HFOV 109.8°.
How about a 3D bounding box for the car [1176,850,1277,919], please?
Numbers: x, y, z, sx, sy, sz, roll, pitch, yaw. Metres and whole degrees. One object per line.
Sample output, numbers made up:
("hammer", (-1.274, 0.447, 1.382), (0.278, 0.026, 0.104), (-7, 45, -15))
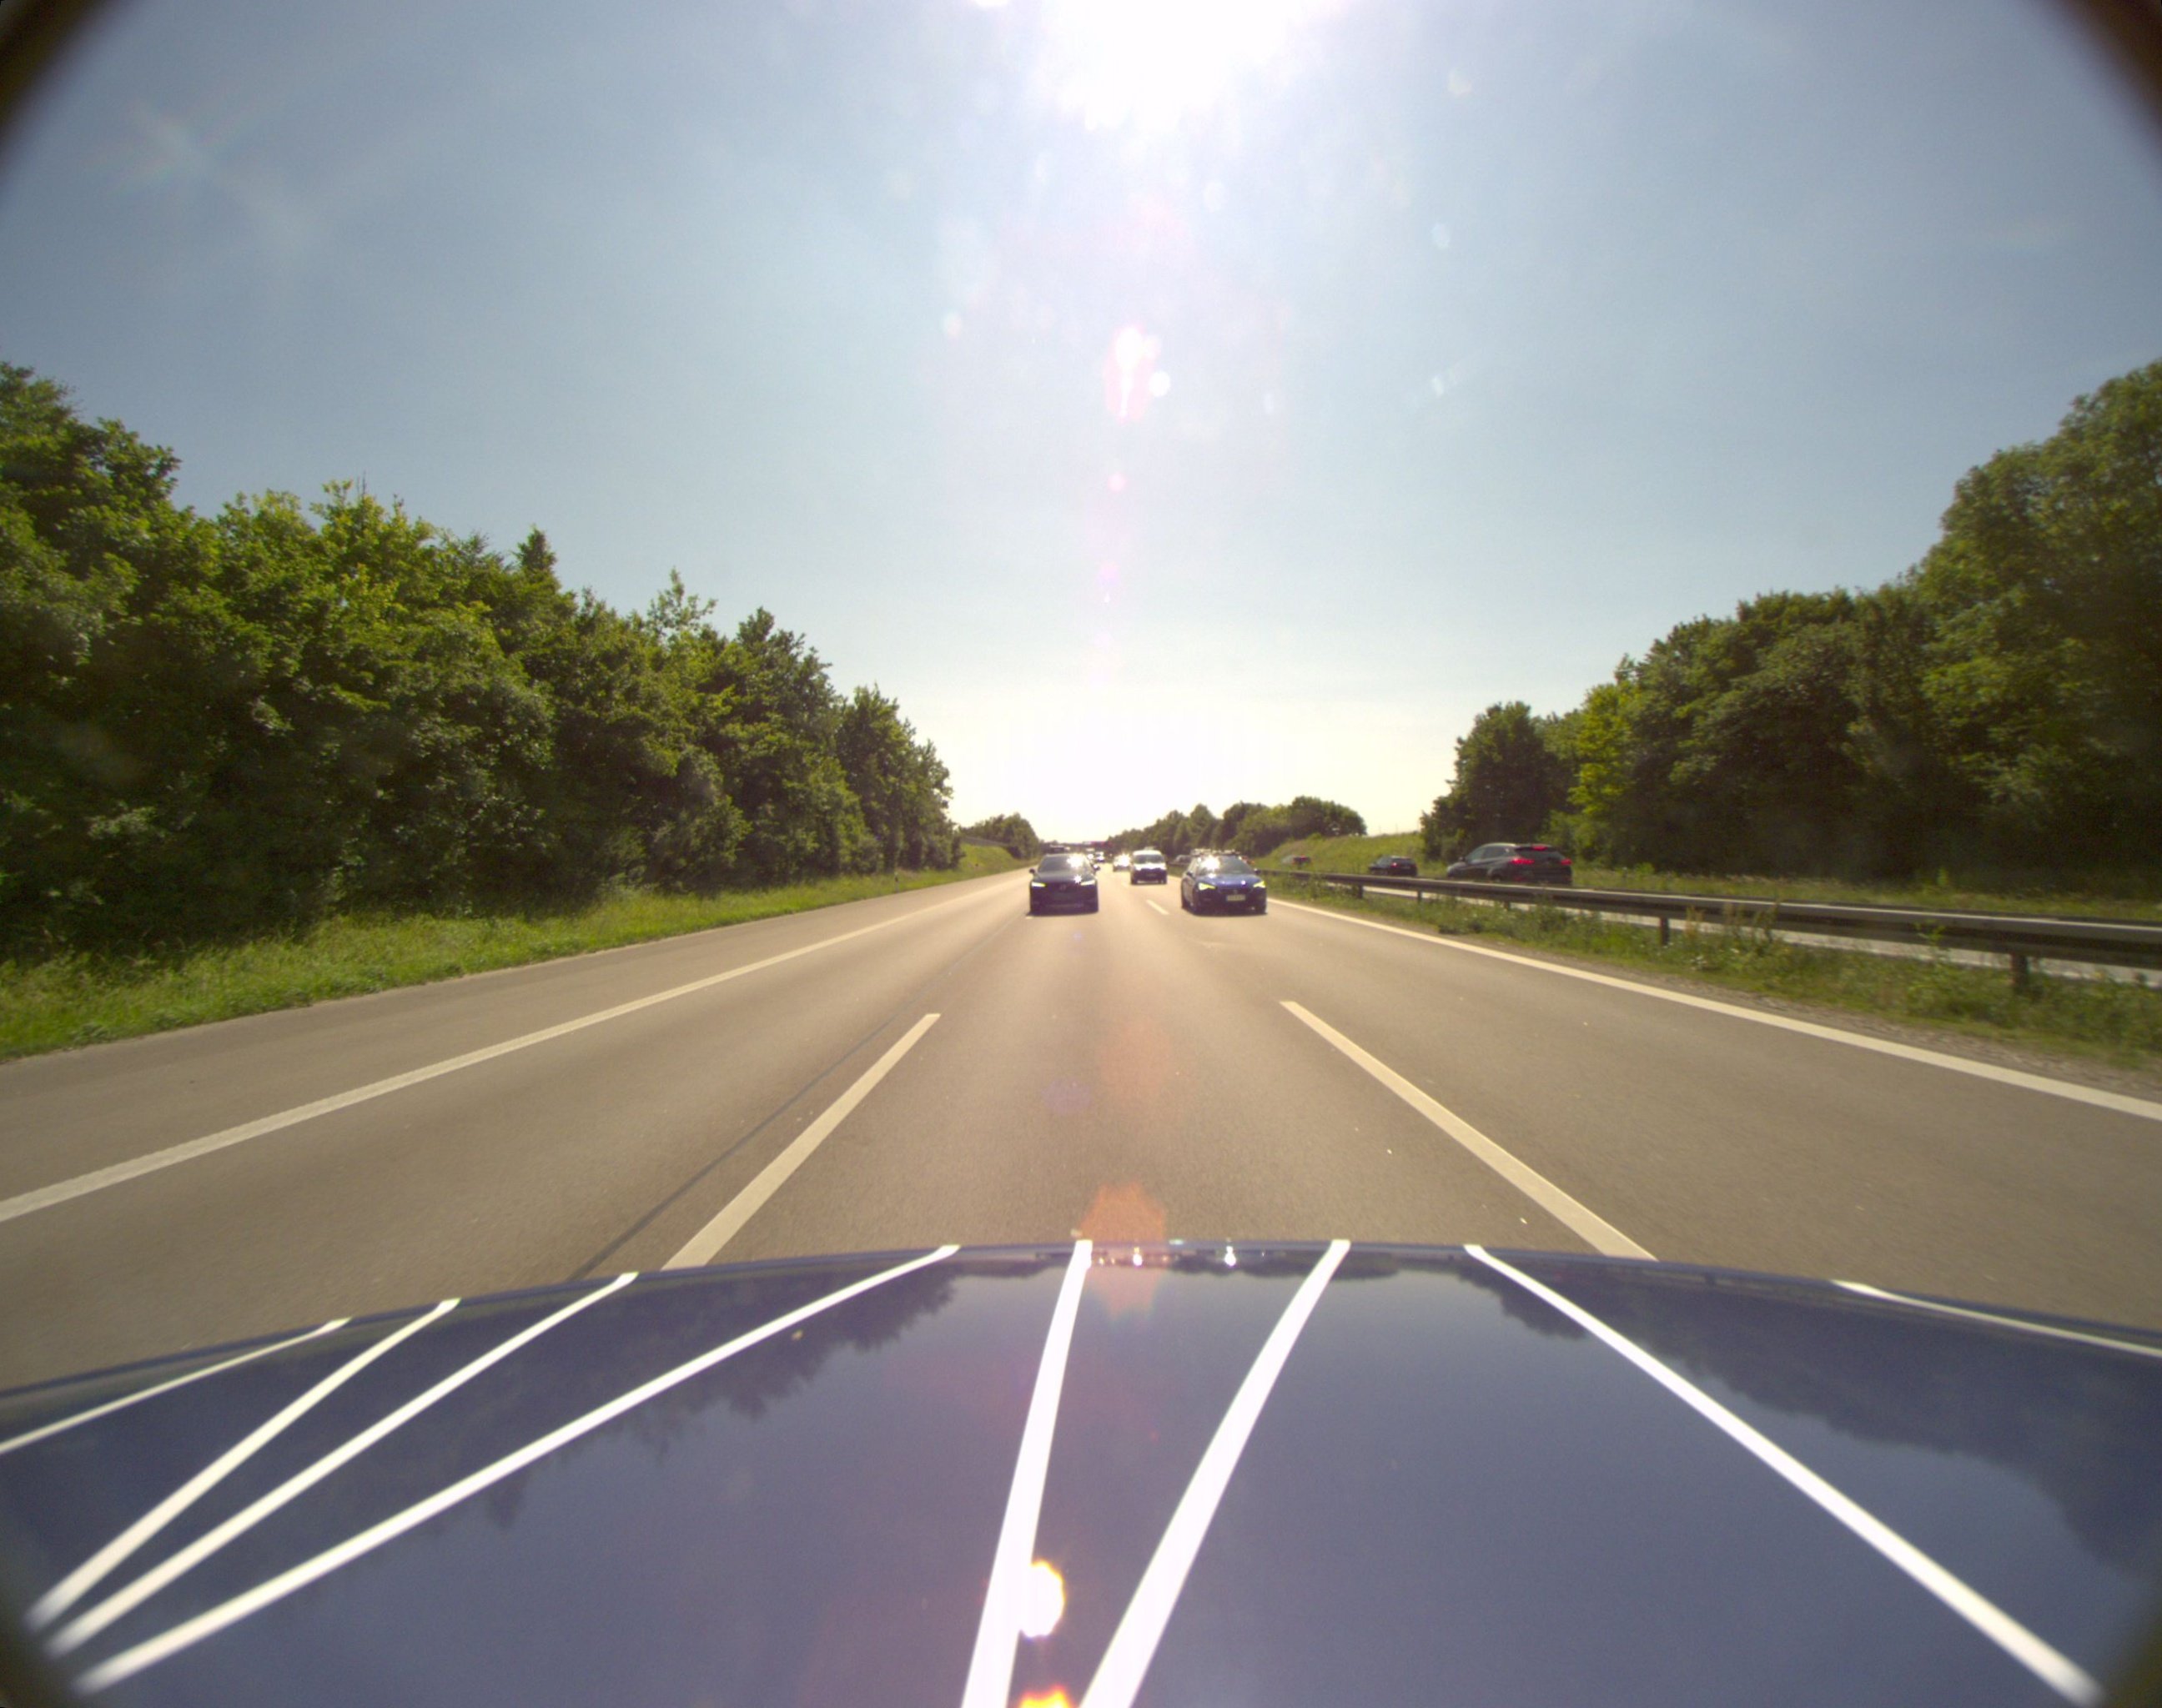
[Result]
("car", (3.782, 0.729, 20.430), (1.904, 1.616, 4.240), (-2, 0, 1))

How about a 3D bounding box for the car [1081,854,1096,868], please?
("car", (0.958, 0.807, 93.529), (1.743, 1.630, 3.844), (0, 1, 2))

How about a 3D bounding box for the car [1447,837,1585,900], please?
("car", (12.621, 0.384, 22.377), (1.801, 1.657, 4.129), (-1, 0, 2))

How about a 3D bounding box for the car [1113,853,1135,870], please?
("car", (4.203, 0.710, 75.368), (1.998, 1.540, 3.999), (-1, 1, 1))

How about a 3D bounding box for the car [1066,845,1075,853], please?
("car", (-2.606, -1.210, 188.452), (1.998, 1.856, 4.228), (-1, 0, 1))

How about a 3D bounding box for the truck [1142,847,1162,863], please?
("truck", (18.585, 0.275, 200.235), (3.220, 4.026, 16.671), (0, 0, -2))

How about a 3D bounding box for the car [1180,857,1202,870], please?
("car", (13.040, 1.106, 89.919), (1.917, 1.508, 4.616), (-1, 0, 0))

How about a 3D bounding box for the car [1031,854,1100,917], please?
("car", (-0.414, 0.850, 22.478), (1.812, 1.648, 4.000), (-2, 0, 0))

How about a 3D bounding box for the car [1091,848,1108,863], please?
("car", (3.822, 0.255, 157.016), (3.243, 3.094, 7.602), (0, 0, -1))

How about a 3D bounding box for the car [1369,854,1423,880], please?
("car", (19.926, 0.807, 48.222), (1.801, 1.545, 4.129), (1, 0, 2))

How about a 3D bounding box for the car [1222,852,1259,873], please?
("car", (12.924, 0.666, 62.007), (1.998, 1.595, 5.089), (-1, 0, 1))

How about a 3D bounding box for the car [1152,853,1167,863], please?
("car", (12.349, 0.632, 119.580), (1.917, 1.508, 4.616), (-1, 0, 0))

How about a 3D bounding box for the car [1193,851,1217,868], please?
("car", (13.127, 0.570, 80.833), (1.854, 1.565, 4.421), (-1, 1, 0))

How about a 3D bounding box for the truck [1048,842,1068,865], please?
("truck", (-3.599, -0.125, 118.539), (2.965, 3.388, 8.046), (0, 1, -1))

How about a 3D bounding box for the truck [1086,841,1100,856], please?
("truck", (3.053, -1.415, 195.030), (3.243, 3.684, 10.933), (0, 0, -1))

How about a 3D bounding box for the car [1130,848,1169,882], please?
("car", (3.664, 0.553, 41.177), (1.870, 1.713, 3.980), (-1, 1, 1))

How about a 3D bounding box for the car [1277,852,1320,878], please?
("car", (16.567, 0.769, 58.192), (1.998, 1.794, 4.695), (-1, 1, 1))

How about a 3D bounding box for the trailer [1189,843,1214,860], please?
("trailer", (20.342, -0.455, 128.700), (2.738, 2.671, 8.629), (-1, 0, 0))
